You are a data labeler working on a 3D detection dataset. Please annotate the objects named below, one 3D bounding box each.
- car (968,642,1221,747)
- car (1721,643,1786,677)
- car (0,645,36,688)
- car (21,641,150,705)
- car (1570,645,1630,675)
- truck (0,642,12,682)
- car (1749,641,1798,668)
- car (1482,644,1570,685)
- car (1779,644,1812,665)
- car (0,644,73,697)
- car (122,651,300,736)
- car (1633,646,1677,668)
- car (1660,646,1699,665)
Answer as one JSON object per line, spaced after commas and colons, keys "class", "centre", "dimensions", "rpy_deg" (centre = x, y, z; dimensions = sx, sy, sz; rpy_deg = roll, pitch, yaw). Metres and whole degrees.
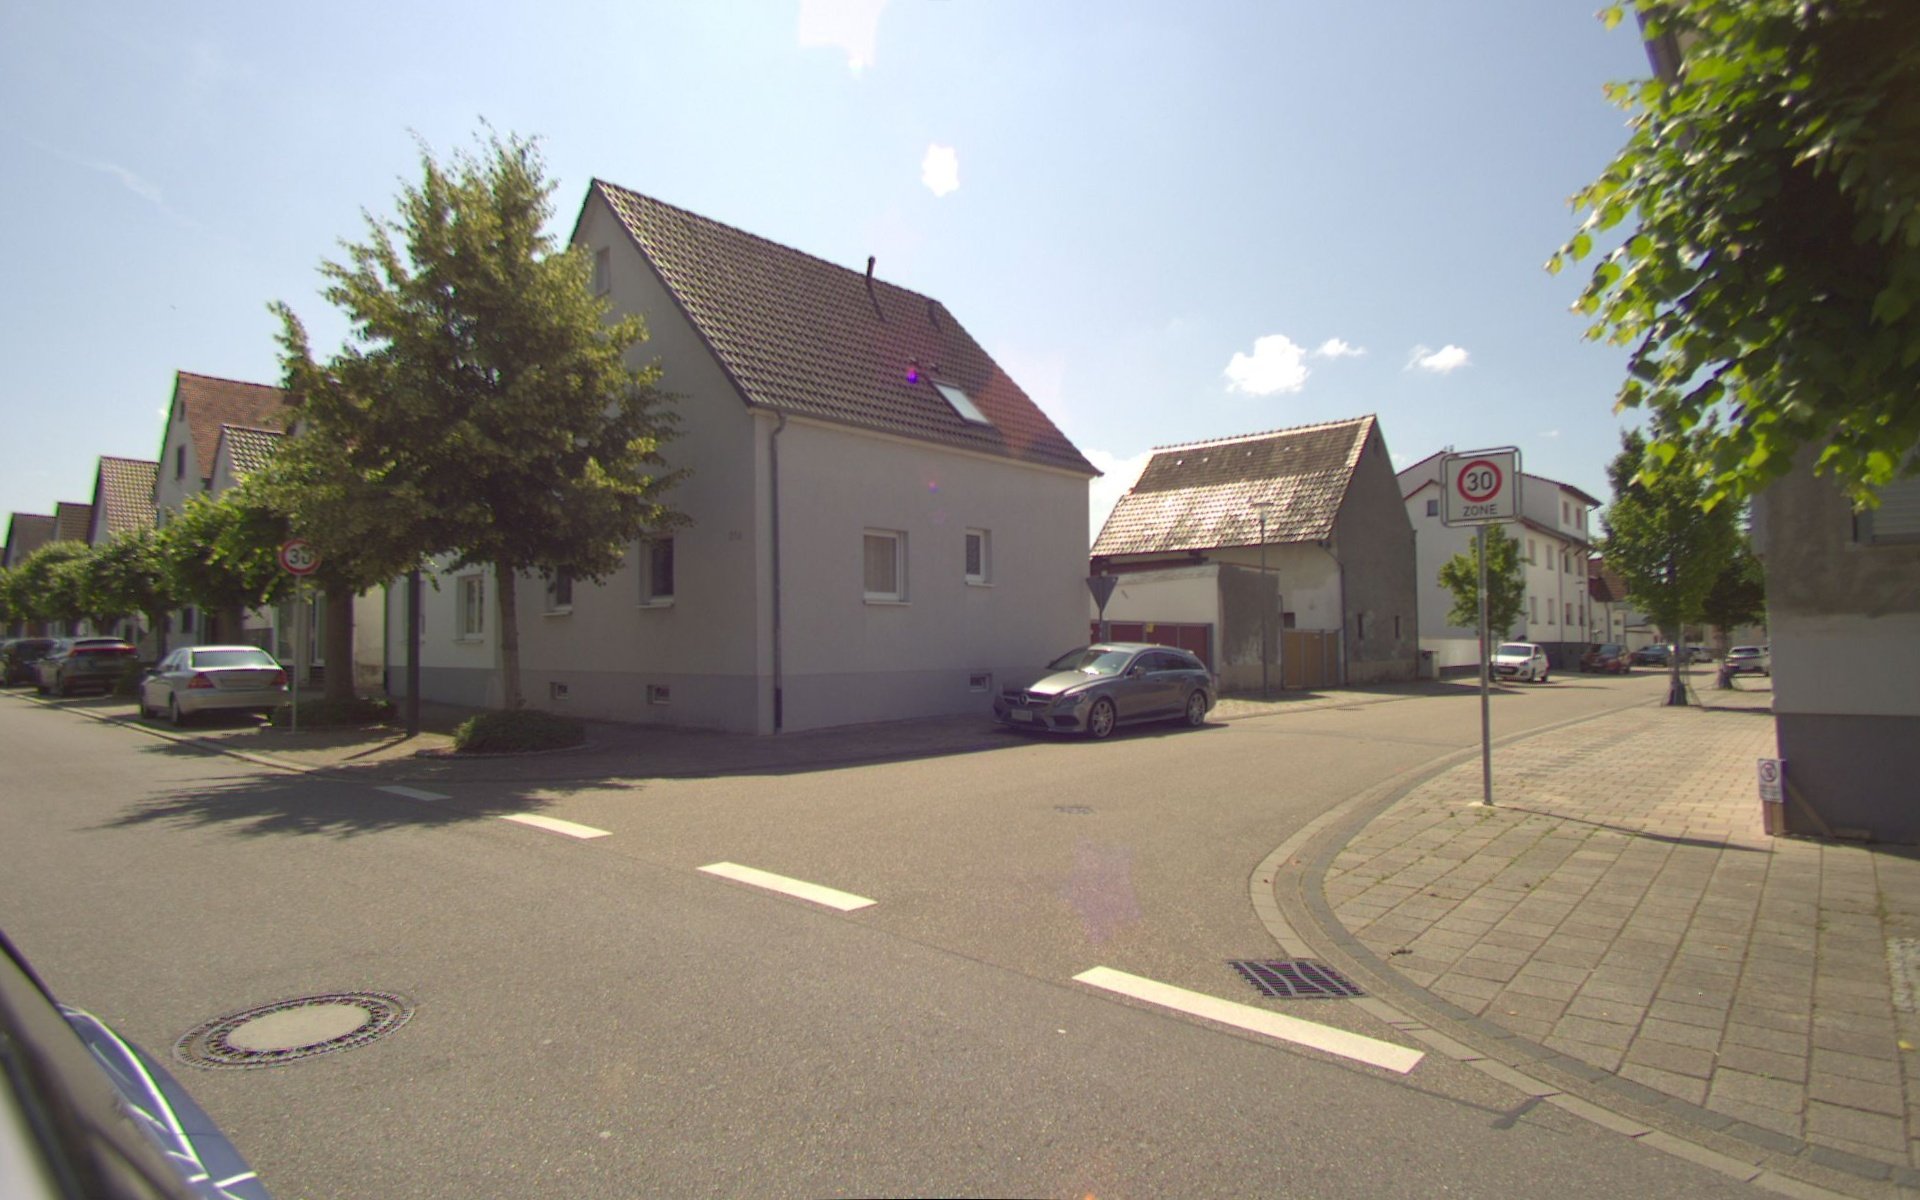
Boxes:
{"class": "car", "centre": [2.331, 1.451, 16.793], "dimensions": [2.001, 1.460, 4.288], "rpy_deg": [-1, -2, 44]}
{"class": "car", "centre": [37.628, 2.810, 47.948], "dimensions": [2.001, 1.460, 4.288], "rpy_deg": [-1, -2, 44]}
{"class": "car", "centre": [-39.065, 2.663, 40.908], "dimensions": [3.992, 1.646, 1.770], "rpy_deg": [-2, -2, 36]}
{"class": "car", "centre": [-25.129, 2.047, 29.053], "dimensions": [4.361, 1.665, 1.974], "rpy_deg": [-2, -3, 38]}
{"class": "car", "centre": [34.066, 3.160, 53.818], "dimensions": [2.000, 1.460, 4.290], "rpy_deg": [-1, -2, 42]}
{"class": "truck", "centre": [-45.334, 2.880, 46.942], "dimensions": [4.190, 1.778, 1.560], "rpy_deg": [-2, -1, 41]}
{"class": "car", "centre": [46.301, 3.056, 57.552], "dimensions": [1.927, 1.460, 3.983], "rpy_deg": [-1, -2, 42]}
{"class": "car", "centre": [22.596, 2.531, 40.344], "dimensions": [2.001, 1.460, 4.288], "rpy_deg": [-1, -2, 44]}
{"class": "car", "centre": [62.877, 4.084, 76.143], "dimensions": [1.756, 1.460, 3.222], "rpy_deg": [-1, -2, 43]}
{"class": "car", "centre": [-31.957, 2.371, 34.682], "dimensions": [4.055, 1.647, 1.833], "rpy_deg": [-2, -1, 41]}
{"class": "car", "centre": [-14.419, 1.702, 19.398], "dimensions": [4.403, 1.406, 1.821], "rpy_deg": [-3, -3, 41]}
{"class": "car", "centre": [47.775, 3.880, 69.526], "dimensions": [1.969, 1.385, 4.290], "rpy_deg": [-1, -2, 42]}
{"class": "car", "centre": [56.267, 4.320, 79.093], "dimensions": [1.969, 1.385, 4.290], "rpy_deg": [-1, -2, 42]}
